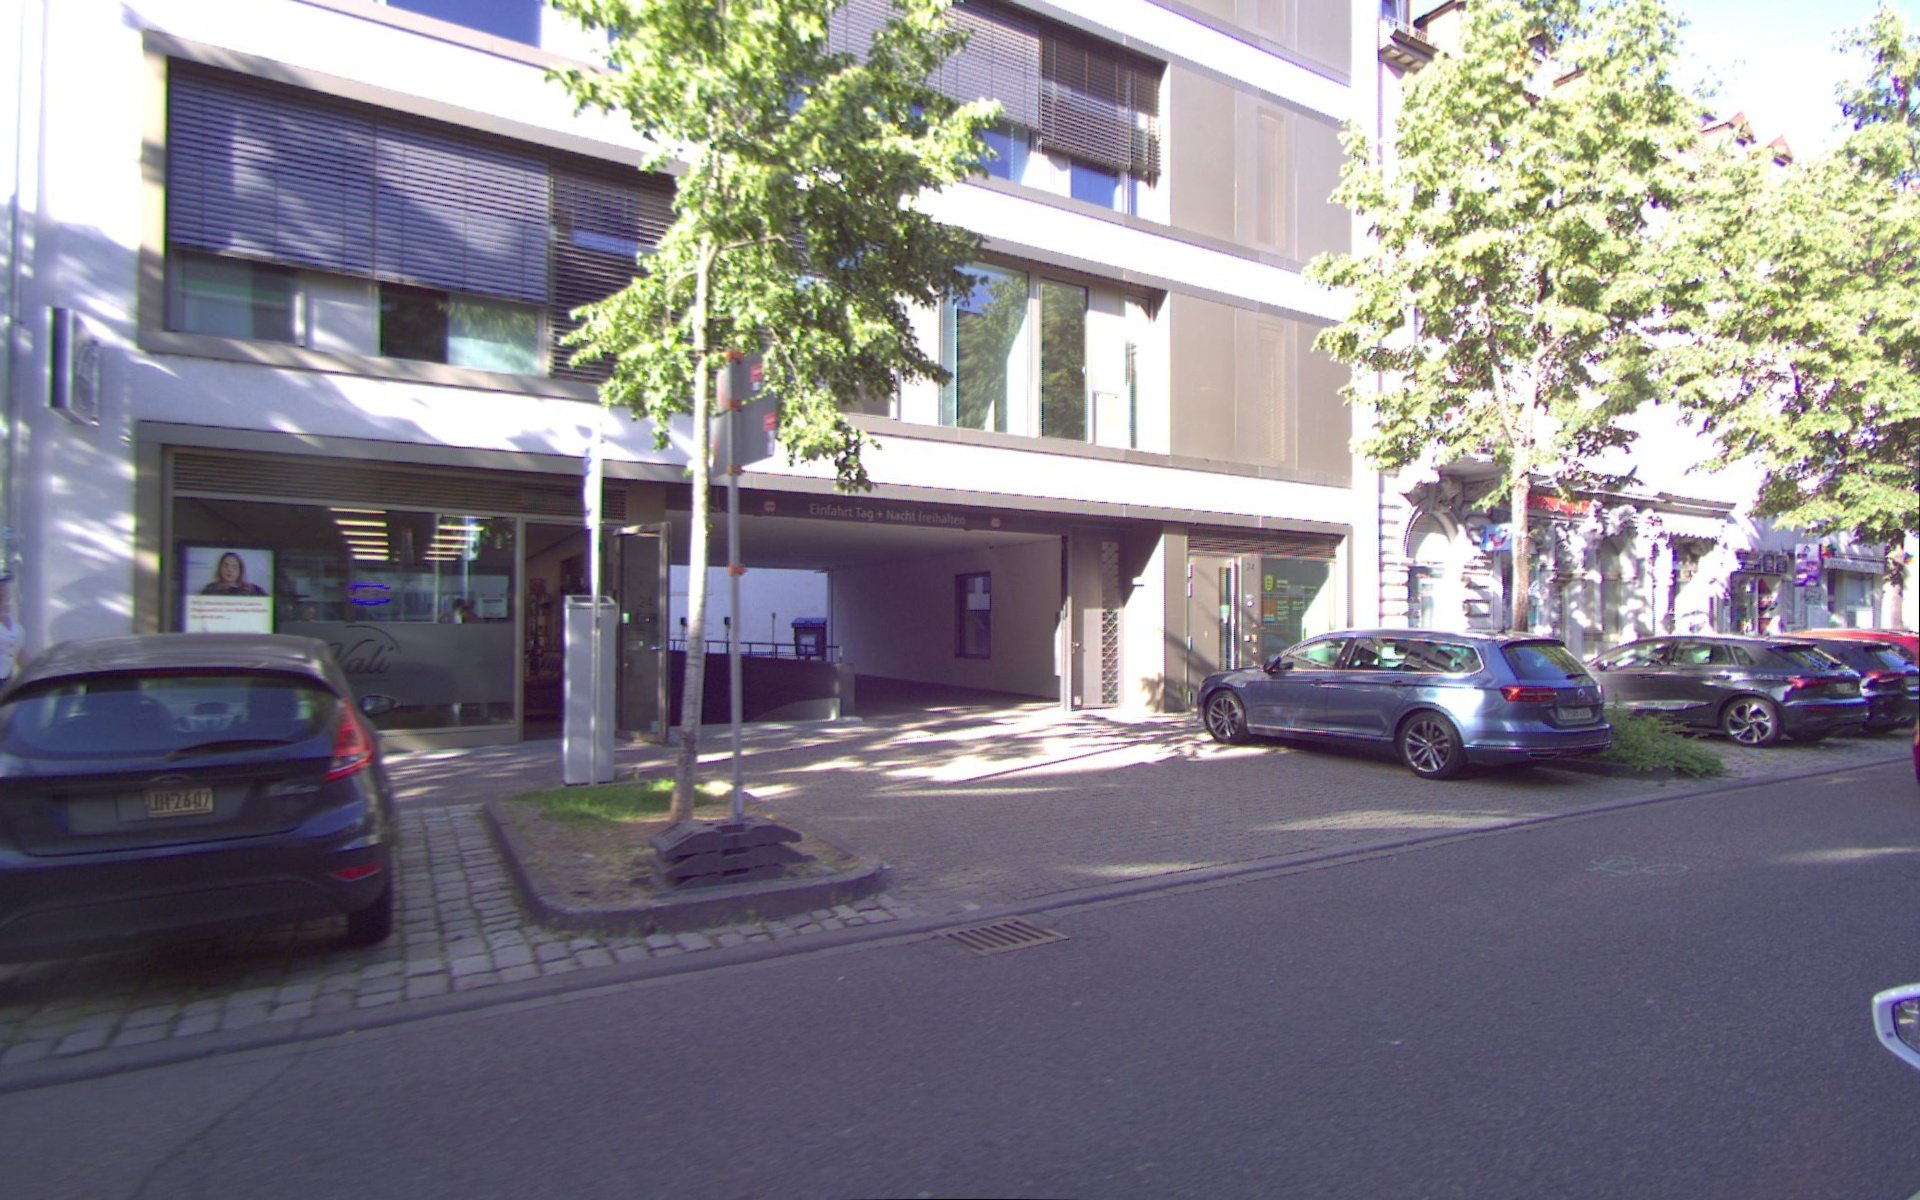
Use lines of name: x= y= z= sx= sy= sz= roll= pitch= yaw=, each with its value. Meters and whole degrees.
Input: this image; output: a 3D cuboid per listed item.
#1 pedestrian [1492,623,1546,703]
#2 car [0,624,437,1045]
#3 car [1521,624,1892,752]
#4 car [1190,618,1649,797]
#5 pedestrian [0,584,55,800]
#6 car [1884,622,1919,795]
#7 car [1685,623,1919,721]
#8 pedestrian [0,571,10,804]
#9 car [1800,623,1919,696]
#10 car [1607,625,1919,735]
pedestrian: x=10.370 y=1.153 z=18.629 sx=0.814 sy=1.427 sz=0.506 roll=0 pitch=0 yaw=-26
car: x=-4.014 y=0.878 z=5.440 sx=1.762 sy=1.478 sz=3.758 roll=1 pitch=-1 yaw=-33
car: x=10.418 y=1.124 z=14.340 sx=1.749 sy=1.505 sz=3.903 roll=1 pitch=-1 yaw=-28
car: x=4.810 y=1.000 z=11.245 sx=1.770 sy=1.478 sz=4.469 roll=1 pitch=0 yaw=-31
pedestrian: x=-8.172 y=0.750 z=8.328 sx=0.731 sy=1.758 sz=0.647 roll=0 pitch=-1 yaw=-3
car: x=10.559 y=0.974 z=9.481 sx=3.716 sy=1.555 sz=1.651 roll=1 pitch=-3 yaw=-30
car: x=14.839 y=1.149 z=17.084 sx=1.719 sy=1.488 sz=3.730 roll=1 pitch=-1 yaw=-30
pedestrian: x=-7.777 y=0.679 z=7.507 sx=0.733 sy=1.821 sz=0.699 roll=0 pitch=-1 yaw=-19
car: x=20.749 y=1.256 z=21.298 sx=1.717 sy=1.488 sz=4.187 roll=1 pitch=-1 yaw=-28
car: x=12.592 y=1.136 z=15.709 sx=1.767 sy=1.448 sz=3.825 roll=1 pitch=-1 yaw=-28
